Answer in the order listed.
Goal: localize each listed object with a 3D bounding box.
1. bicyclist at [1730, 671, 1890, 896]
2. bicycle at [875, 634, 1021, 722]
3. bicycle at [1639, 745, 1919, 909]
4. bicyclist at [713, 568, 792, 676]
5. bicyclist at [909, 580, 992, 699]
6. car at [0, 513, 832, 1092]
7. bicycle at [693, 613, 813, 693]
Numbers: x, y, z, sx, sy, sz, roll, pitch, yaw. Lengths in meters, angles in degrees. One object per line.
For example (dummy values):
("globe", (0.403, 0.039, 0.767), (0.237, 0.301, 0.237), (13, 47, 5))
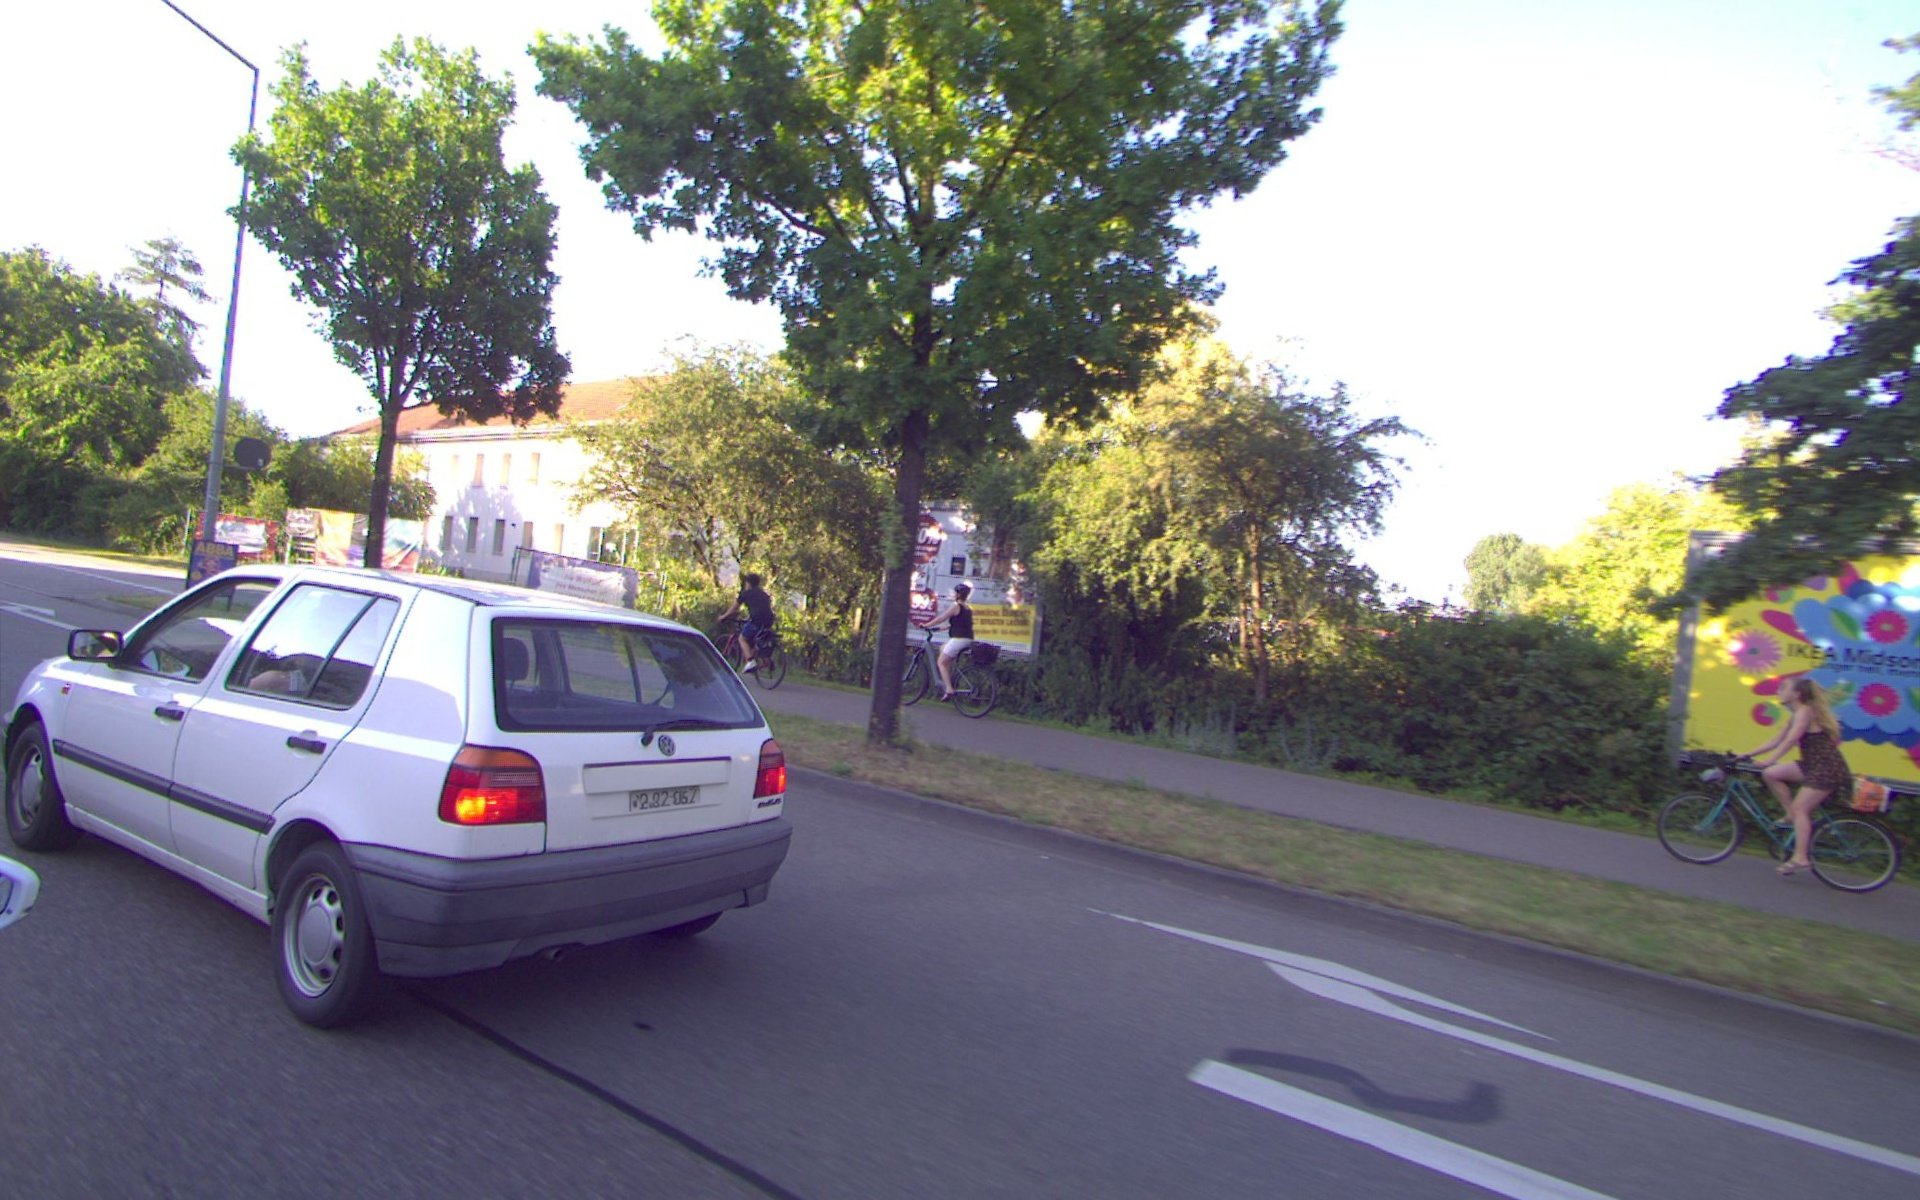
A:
("bicyclist", (7.357, 1.554, 8.752), (0.834, 1.754, 0.603), (7, 0, 33))
("bicycle", (-0.195, 1.098, 14.442), (2.025, 0.985, 0.617), (6, 0, 34))
("bicycle", (7.231, 1.943, 8.810), (2.025, 0.985, 0.617), (6, 0, 34))
("bicyclist", (-3.151, 0.337, 15.282), (0.834, 1.520, 0.613), (7, 0, 33))
("bicyclist", (-0.136, 0.570, 14.437), (0.834, 1.597, 0.603), (7, 0, 33))
("car", (-2.704, 0.534, 4.434), (3.971, 1.414, 1.615), (6, -3, 31))
("bicycle", (-3.156, 0.788, 15.258), (1.792, 0.985, 0.617), (6, 0, 34))
